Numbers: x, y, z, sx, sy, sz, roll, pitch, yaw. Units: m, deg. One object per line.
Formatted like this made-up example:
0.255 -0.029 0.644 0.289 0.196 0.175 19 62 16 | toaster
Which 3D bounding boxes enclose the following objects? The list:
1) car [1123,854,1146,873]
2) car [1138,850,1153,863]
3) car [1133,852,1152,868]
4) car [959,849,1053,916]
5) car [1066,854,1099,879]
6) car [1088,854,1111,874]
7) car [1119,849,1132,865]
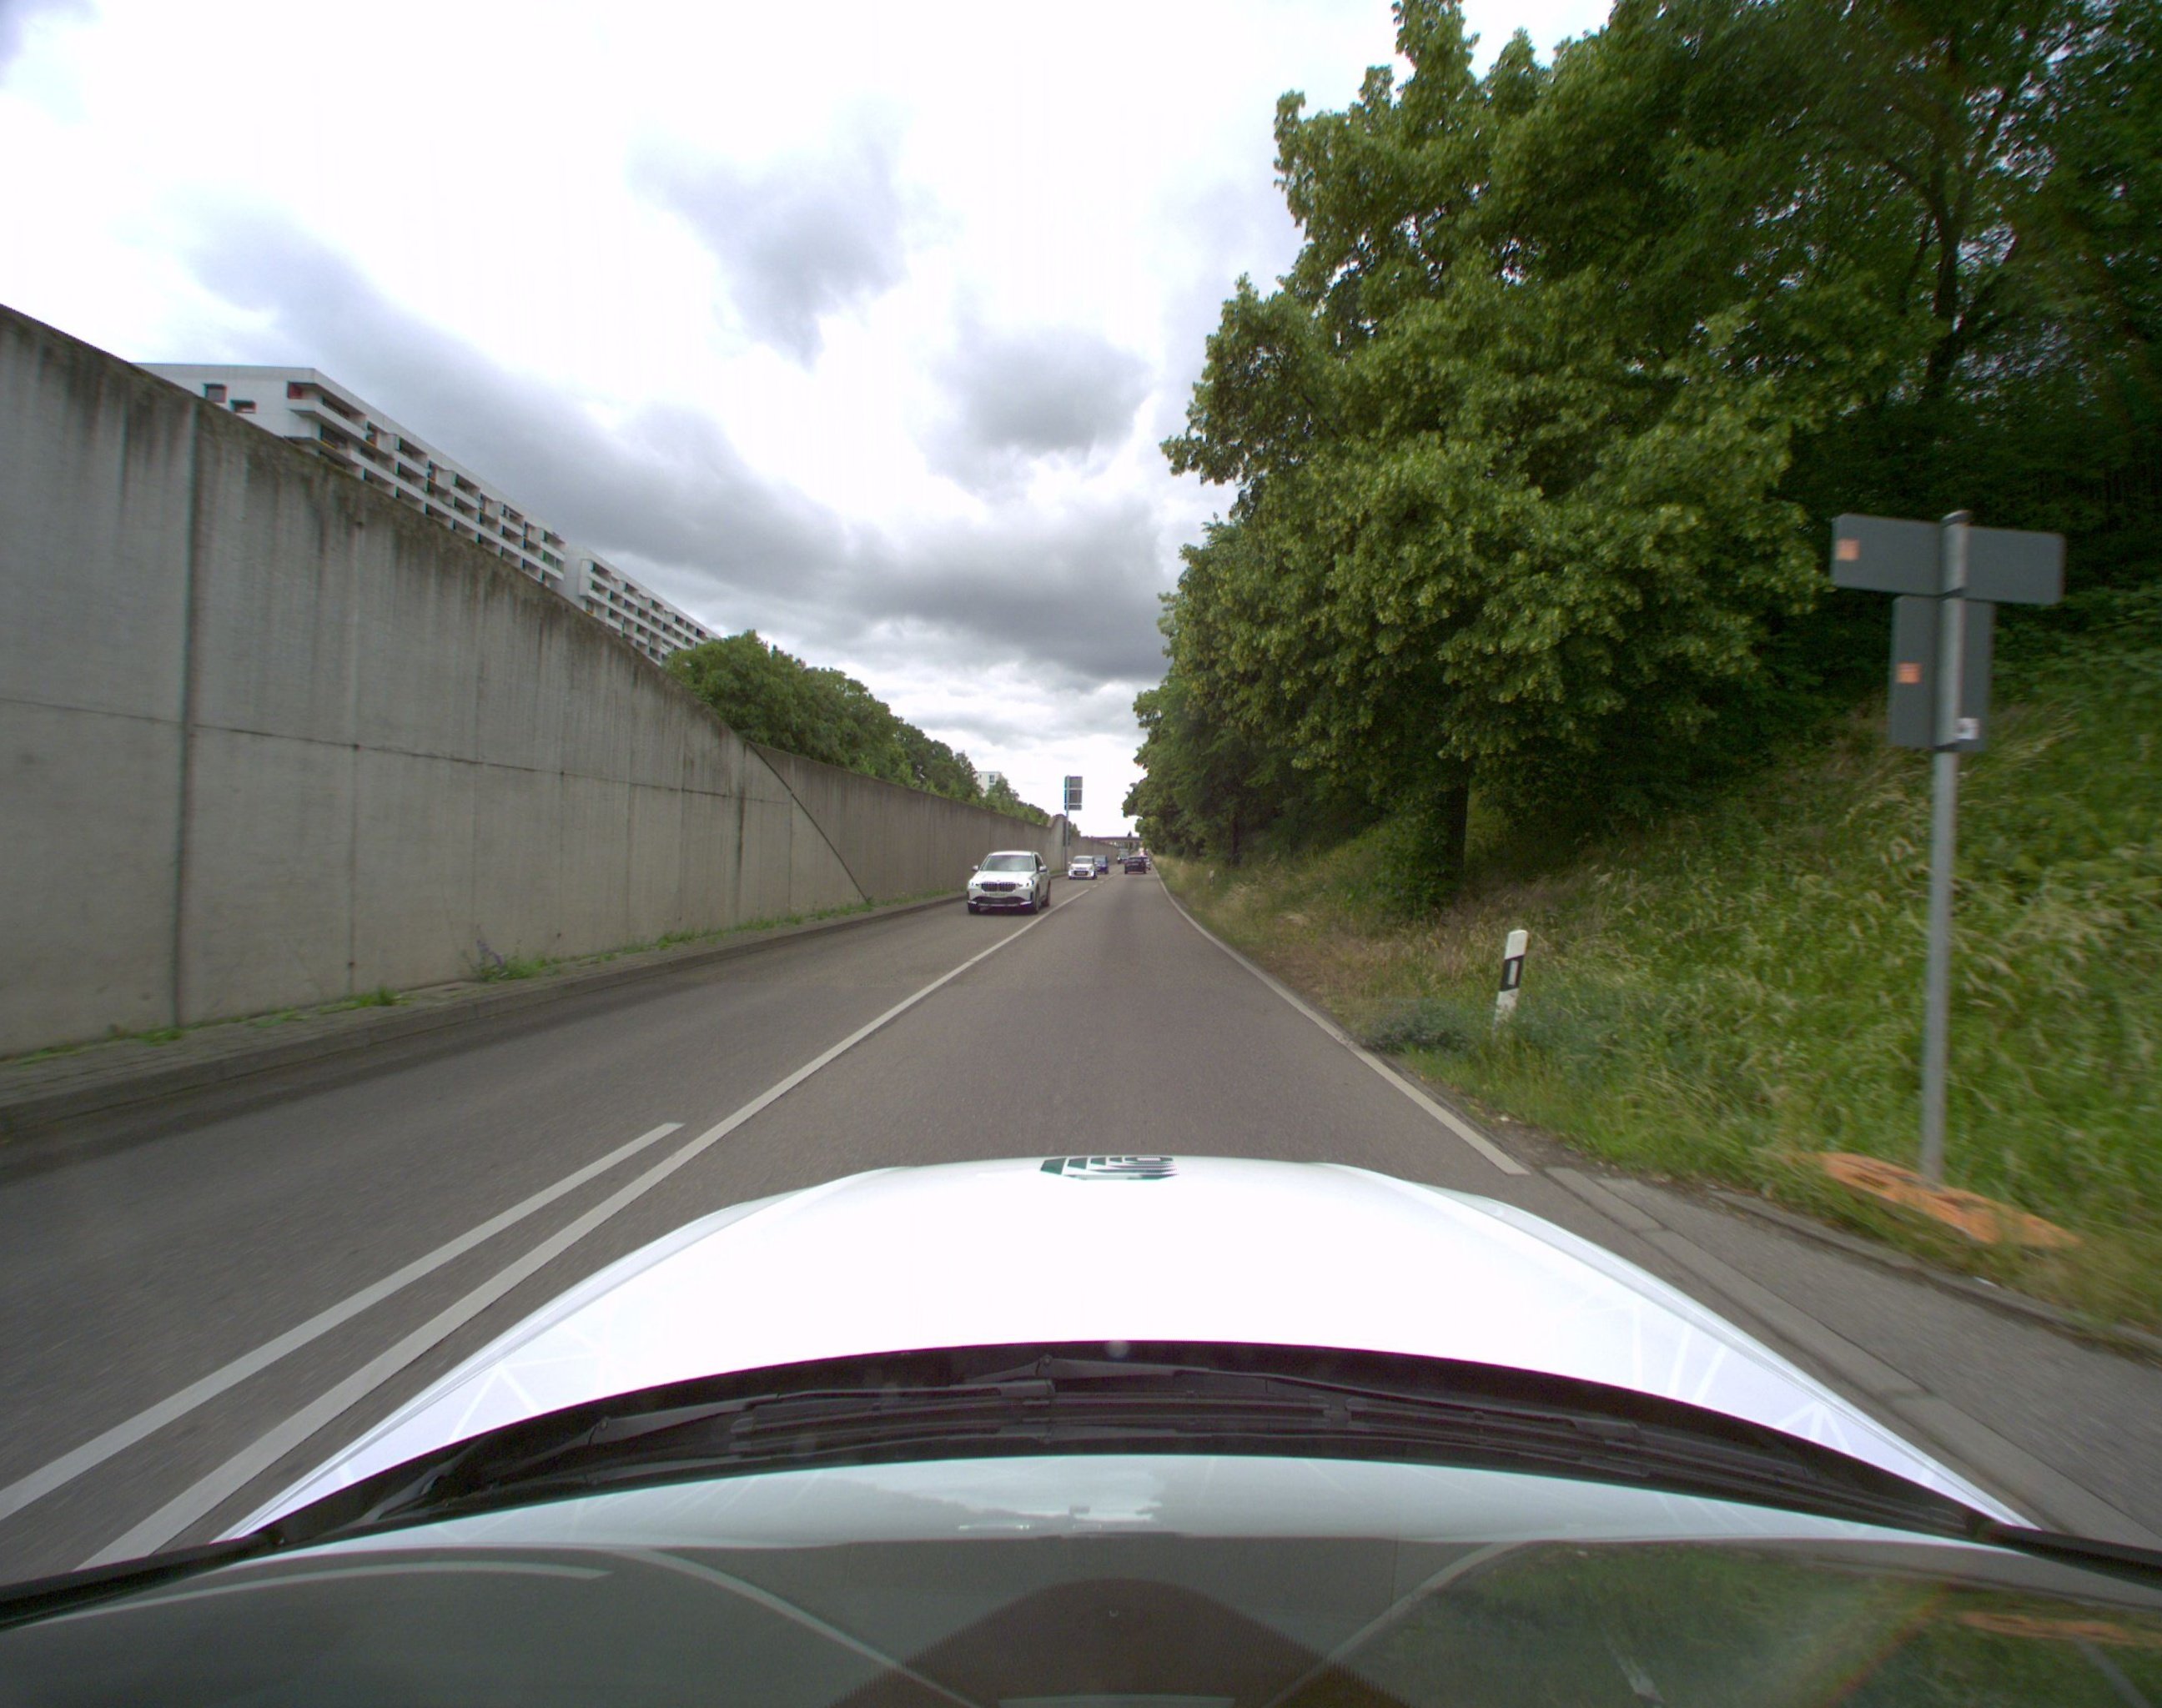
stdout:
4.354 0.804 66.758 1.747 1.524 4.037 0 -2 2 | car
8.519 0.339 108.235 1.859 1.490 4.260 3 0 3 | car
6.314 0.641 83.909 1.748 1.523 4.036 -2 -2 1 | car
-1.944 0.706 22.478 1.882 1.632 4.431 1 0 4 | car
0.139 0.759 51.781 1.908 1.495 4.210 1 0 2 | car
1.527 0.808 66.682 1.761 1.495 4.210 1 0 2 | car
7.789 0.537 142.822 2.100 2.630 7.427 0 0 5 | car
